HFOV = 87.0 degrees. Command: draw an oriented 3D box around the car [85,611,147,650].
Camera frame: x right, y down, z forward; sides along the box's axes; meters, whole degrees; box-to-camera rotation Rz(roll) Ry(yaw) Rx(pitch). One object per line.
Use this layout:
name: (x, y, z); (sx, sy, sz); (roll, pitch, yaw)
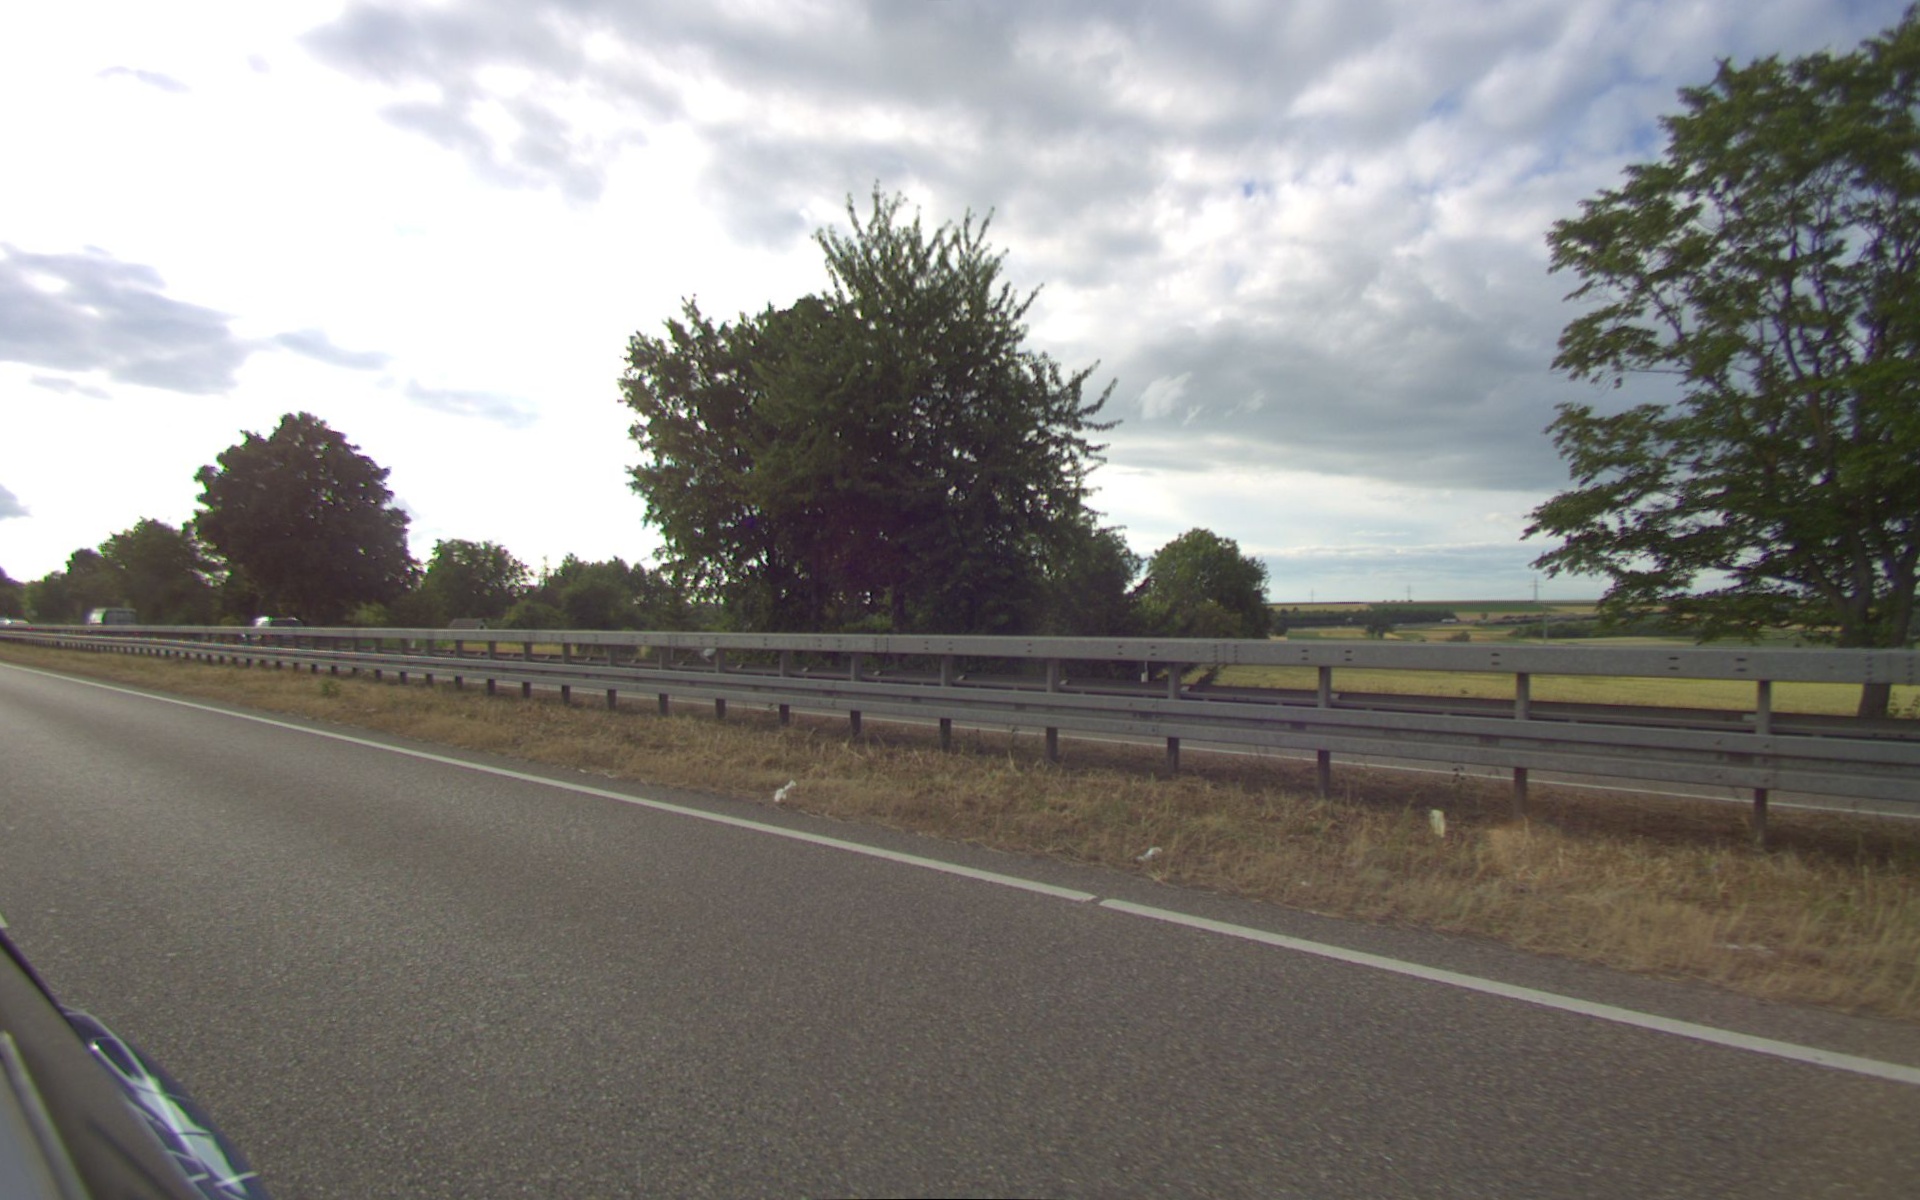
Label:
car: (-48.417, 1.748, 57.986); (5.318, 2.157, 1.972); (-2, -3, 42)

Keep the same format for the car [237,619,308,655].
car: (-33.105, 1.768, 48.684); (4.482, 1.638, 1.778); (-2, -3, 42)
